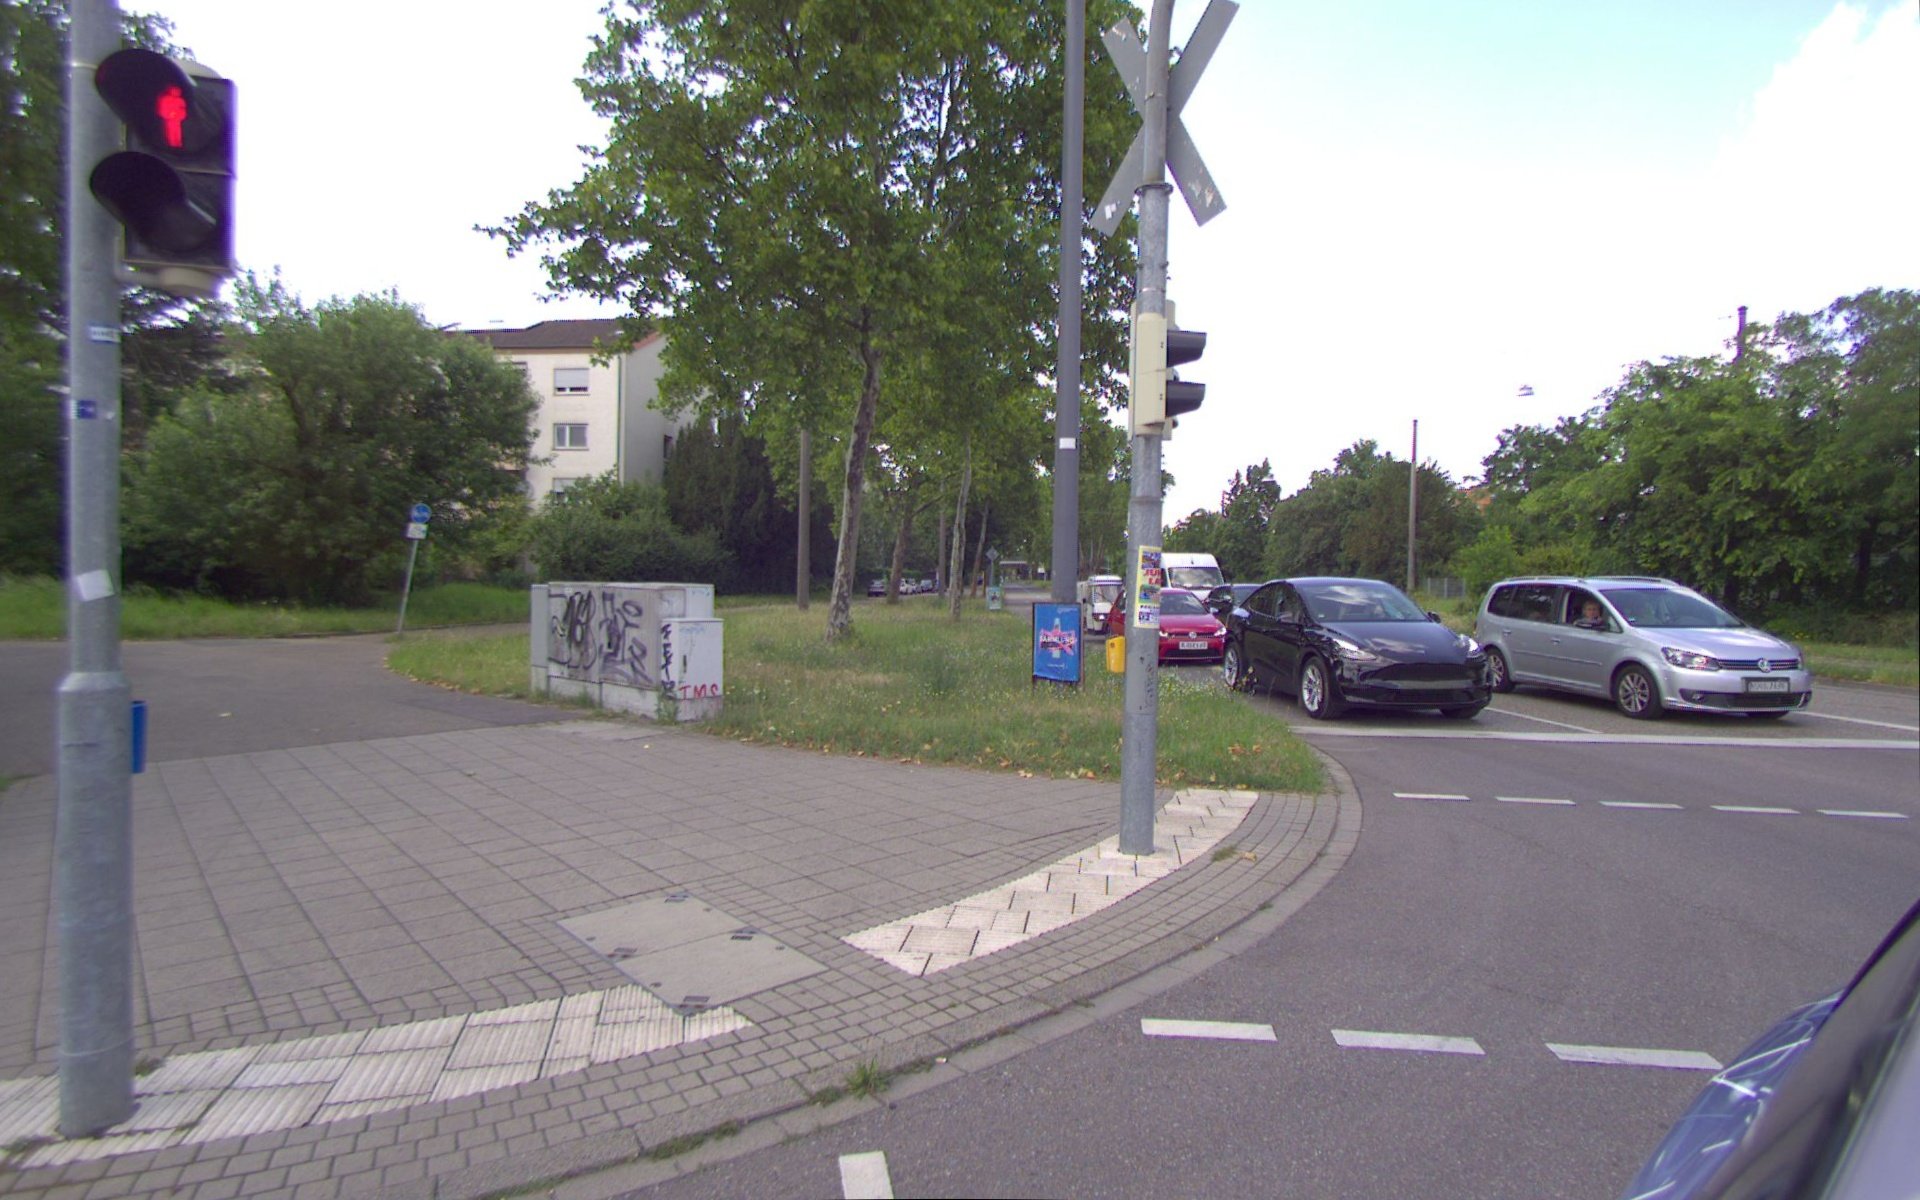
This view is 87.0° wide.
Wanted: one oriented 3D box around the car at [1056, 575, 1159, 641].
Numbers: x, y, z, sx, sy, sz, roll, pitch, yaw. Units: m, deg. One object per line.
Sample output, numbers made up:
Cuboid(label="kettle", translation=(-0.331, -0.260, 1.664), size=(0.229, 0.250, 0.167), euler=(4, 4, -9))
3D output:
Cuboid(label="car", translation=(3.842, 0.152, 27.125), size=(1.766, 1.589, 4.507), euler=(-1, 1, -4))

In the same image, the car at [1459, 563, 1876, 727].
Cuboid(label="car", translation=(8.529, 0.410, 12.839), size=(1.892, 1.672, 4.507), euler=(-1, 1, -4))

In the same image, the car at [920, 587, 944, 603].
Cuboid(label="car", translation=(-2.932, -0.548, 108.082), size=(1.749, 1.616, 3.642), euler=(1, -1, 12))

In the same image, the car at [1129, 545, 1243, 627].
Cuboid(label="car", translation=(7.654, -0.515, 35.049), size=(2.183, 2.561, 5.939), euler=(-1, 1, -4))

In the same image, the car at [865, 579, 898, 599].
Cuboid(label="car", translation=(-6.478, -0.895, 83.937), size=(1.749, 1.616, 3.642), euler=(1, -1, 12))

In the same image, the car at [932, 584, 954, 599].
Cuboid(label="car", translation=(-1.894, -1.016, 115.903), size=(1.749, 1.616, 3.642), euler=(1, -1, 12))

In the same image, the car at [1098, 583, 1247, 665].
Cuboid(label="car", translation=(4.178, 0.396, 20.643), size=(1.766, 1.408, 4.507), euler=(-1, 1, -4))

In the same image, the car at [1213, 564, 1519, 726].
Cuboid(label="car", translation=(4.863, 0.415, 12.976), size=(1.894, 1.672, 4.583), euler=(-1, 1, -2))

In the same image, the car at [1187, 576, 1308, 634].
Cuboid(label="car", translation=(7.659, 0.069, 27.373), size=(1.730, 1.392, 4.348), euler=(-1, 1, -4))

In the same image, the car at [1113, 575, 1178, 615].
Cuboid(label="car", translation=(7.855, -0.249, 43.115), size=(1.808, 1.638, 4.159), euler=(0, 1, -3))

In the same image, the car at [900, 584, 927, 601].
Cuboid(label="car", translation=(-4.415, -0.703, 97.183), size=(1.749, 1.616, 3.642), euler=(1, -1, 12))

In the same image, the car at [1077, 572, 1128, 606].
Cuboid(label="car", translation=(7.401, -0.617, 53.018), size=(1.730, 1.667, 4.348), euler=(1, 1, -4))

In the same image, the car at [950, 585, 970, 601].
Cuboid(label="car", translation=(-0.001, -0.861, 126.104), size=(1.749, 1.962, 3.642), euler=(1, -1, 12))

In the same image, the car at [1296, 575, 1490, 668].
Cuboid(label="car", translation=(8.007, 0.318, 19.151), size=(1.769, 1.526, 4.003), euler=(-1, 1, -3))

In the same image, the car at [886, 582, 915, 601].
Cuboid(label="car", translation=(-5.458, -0.768, 93.101), size=(1.749, 1.616, 3.642), euler=(1, -1, 12))
